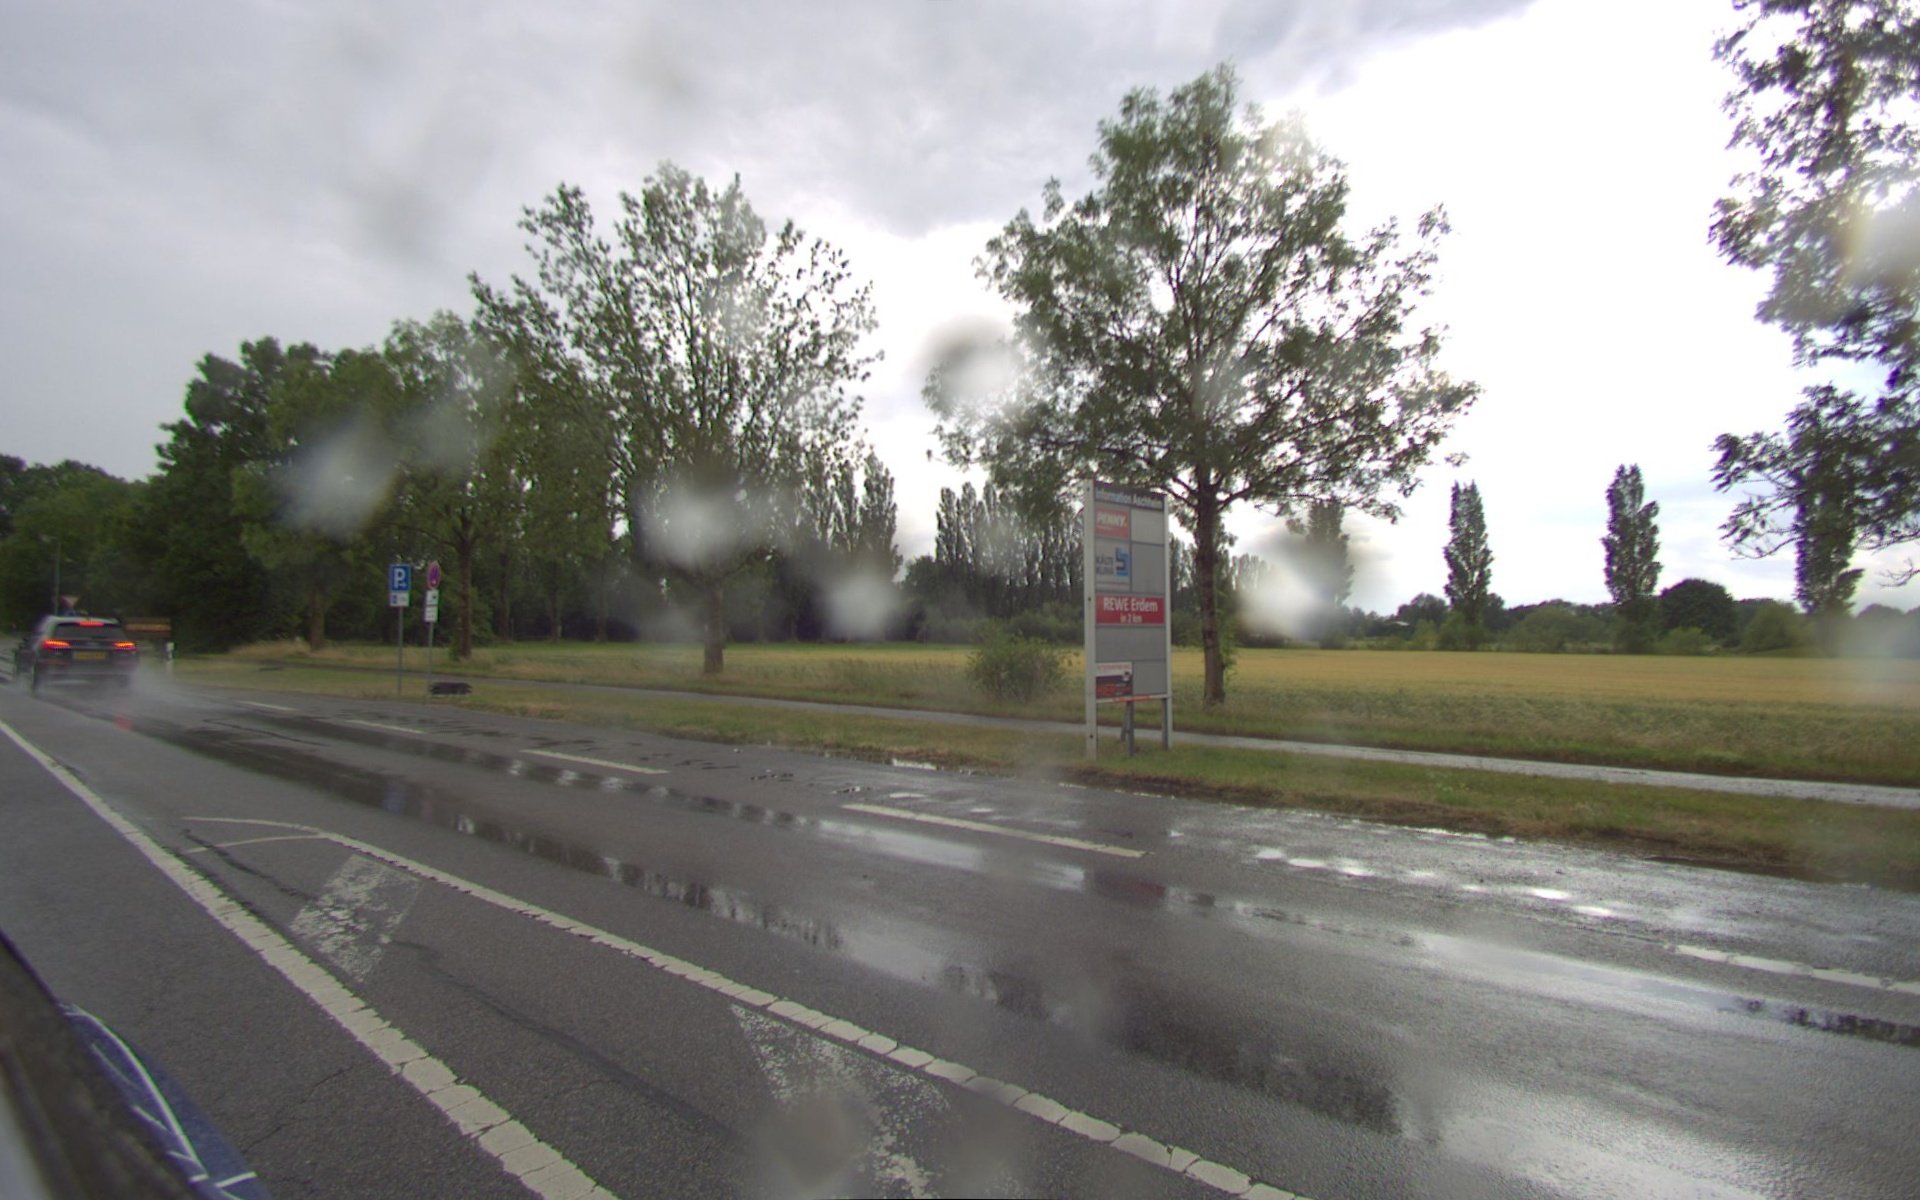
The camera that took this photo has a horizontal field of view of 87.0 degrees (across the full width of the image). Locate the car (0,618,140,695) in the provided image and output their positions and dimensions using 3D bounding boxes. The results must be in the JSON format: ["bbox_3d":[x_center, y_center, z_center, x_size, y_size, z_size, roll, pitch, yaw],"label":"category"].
[{"bbox_3d":[-20.851,1.268,23.617,4.355,1.644,1.896,-1,-3,41],"label":"car"}]
